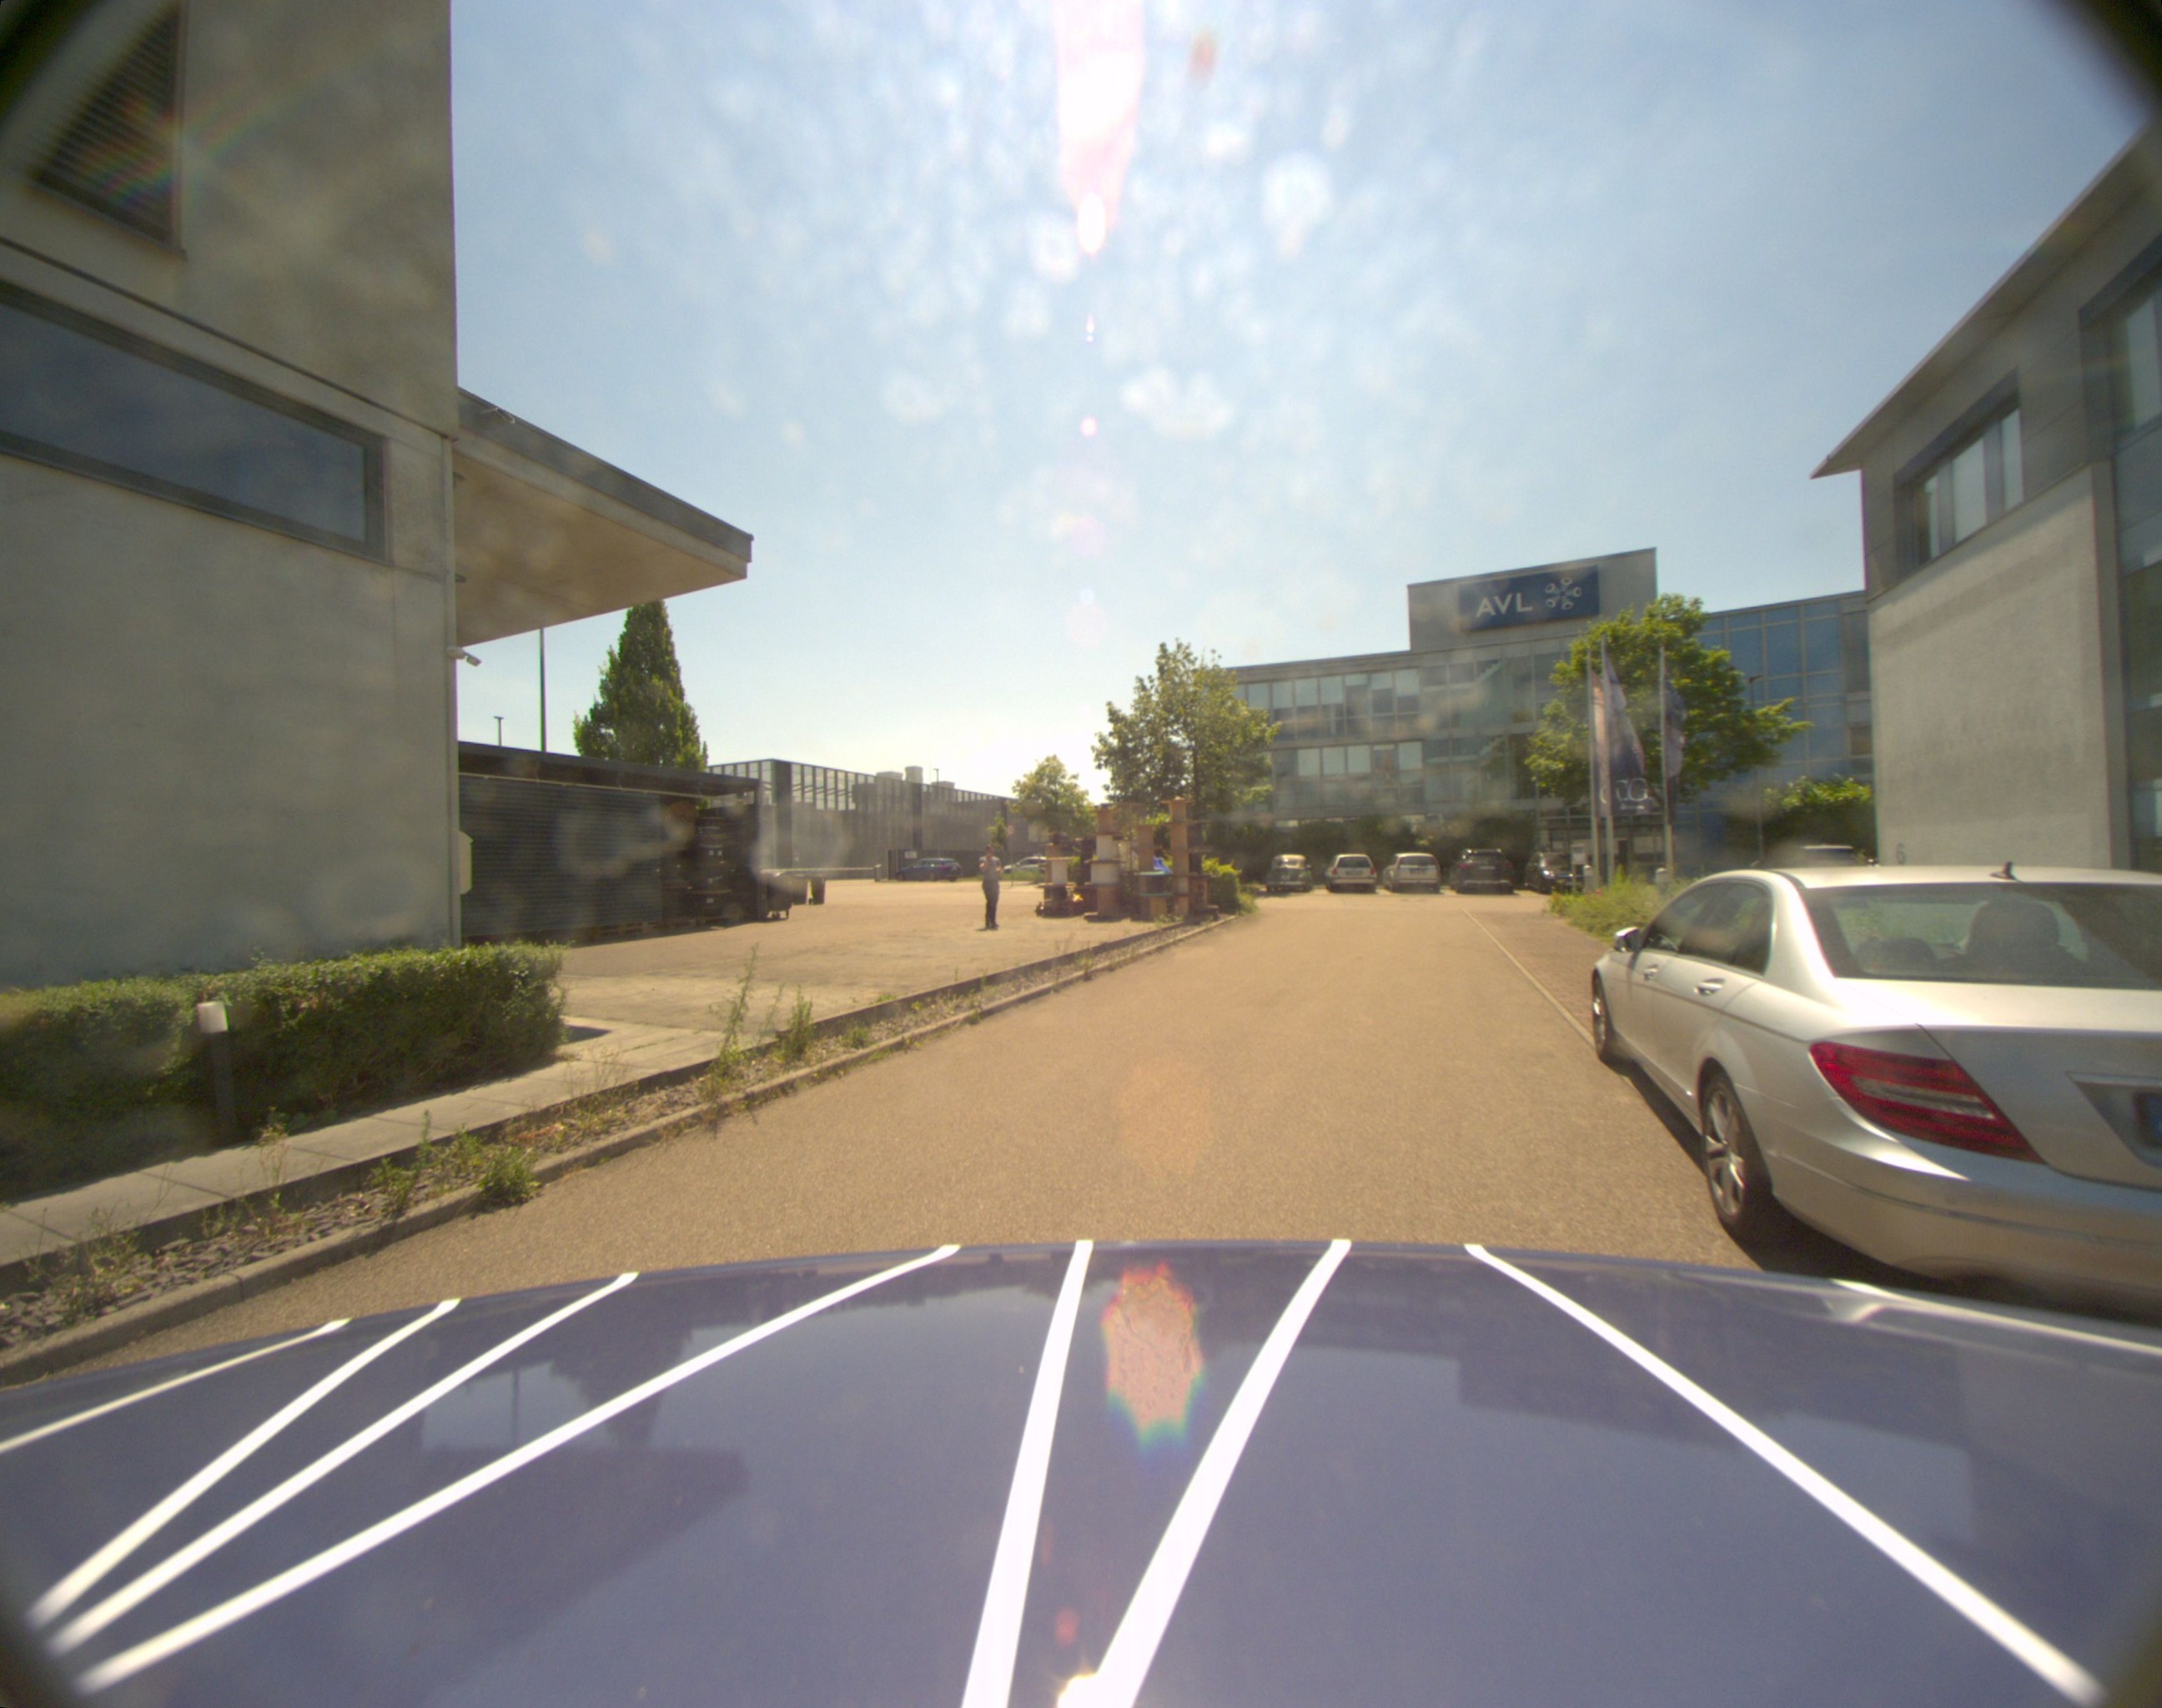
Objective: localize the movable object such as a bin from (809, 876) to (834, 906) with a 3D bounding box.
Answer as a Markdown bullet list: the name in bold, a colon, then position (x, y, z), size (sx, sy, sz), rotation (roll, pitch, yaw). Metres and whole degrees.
- **movable object such as a bin**: position (-8.227, 1.160, 24.114), size (0.585, 0.912, 0.547), rotation (-1, 1, -2)

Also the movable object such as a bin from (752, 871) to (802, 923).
- **movable object such as a bin**: position (-7.763, 1.083, 19.420), size (0.874, 1.242, 0.803), rotation (0, 2, 31)

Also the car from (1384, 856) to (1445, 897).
- **car**: position (12.945, 0.828, 29.681), size (1.729, 1.444, 3.604), rotation (0, 1, 16)

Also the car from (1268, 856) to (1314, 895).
- **car**: position (8.506, 0.817, 30.630), size (1.519, 1.437, 3.424), rotation (0, 1, 19)

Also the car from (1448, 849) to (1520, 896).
- **car**: position (15.079, 0.649, 28.628), size (1.935, 1.593, 3.865), rotation (0, 1, 21)

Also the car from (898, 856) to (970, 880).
- **car**: position (-9.132, 0.891, 47.055), size (4.434, 1.401, 1.863), rotation (-1, 0, 36)

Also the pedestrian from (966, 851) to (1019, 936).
- **pedestrian**: position (-1.917, 0.819, 16.419), size (0.810, 1.759, 0.767), rotation (-3, 2, -37)

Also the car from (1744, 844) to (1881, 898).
- **car**: position (23.855, 0.490, 24.985), size (1.829, 1.628, 4.178), rotation (0, 0, 22)

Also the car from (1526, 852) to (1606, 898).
- **car**: position (17.456, 0.704, 27.536), size (1.727, 1.475, 4.404), rotation (-1, 0, 23)

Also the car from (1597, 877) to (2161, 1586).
- **car**: position (3.703, 0.909, 3.403), size (1.730, 1.448, 4.155), rotation (0, 0, 26)

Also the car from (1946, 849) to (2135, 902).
- **car**: position (28.138, 0.566, 22.506), size (1.748, 1.392, 4.178), rotation (0, 0, 24)

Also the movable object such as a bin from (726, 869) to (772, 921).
- **movable object such as a bin**: position (-8.705, 1.051, 19.932), size (0.754, 1.290, 0.803), rotation (0, 2, 31)

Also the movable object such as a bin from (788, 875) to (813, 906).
- **movable object such as a bin**: position (-8.876, 1.153, 24.044), size (0.585, 0.912, 0.547), rotation (-1, 1, -2)

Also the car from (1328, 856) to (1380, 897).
- **car**: position (10.688, 0.819, 29.931), size (1.640, 1.444, 3.604), rotation (0, 1, 16)

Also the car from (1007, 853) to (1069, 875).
- **car**: position (-3.119, 0.710, 54.934), size (4.402, 1.467, 1.784), rotation (-1, 0, 39)

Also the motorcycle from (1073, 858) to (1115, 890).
- **motorcycle**: position (0.604, 0.841, 33.095), size (0.872, 1.252, 2.839), rotation (0, 1, 21)
